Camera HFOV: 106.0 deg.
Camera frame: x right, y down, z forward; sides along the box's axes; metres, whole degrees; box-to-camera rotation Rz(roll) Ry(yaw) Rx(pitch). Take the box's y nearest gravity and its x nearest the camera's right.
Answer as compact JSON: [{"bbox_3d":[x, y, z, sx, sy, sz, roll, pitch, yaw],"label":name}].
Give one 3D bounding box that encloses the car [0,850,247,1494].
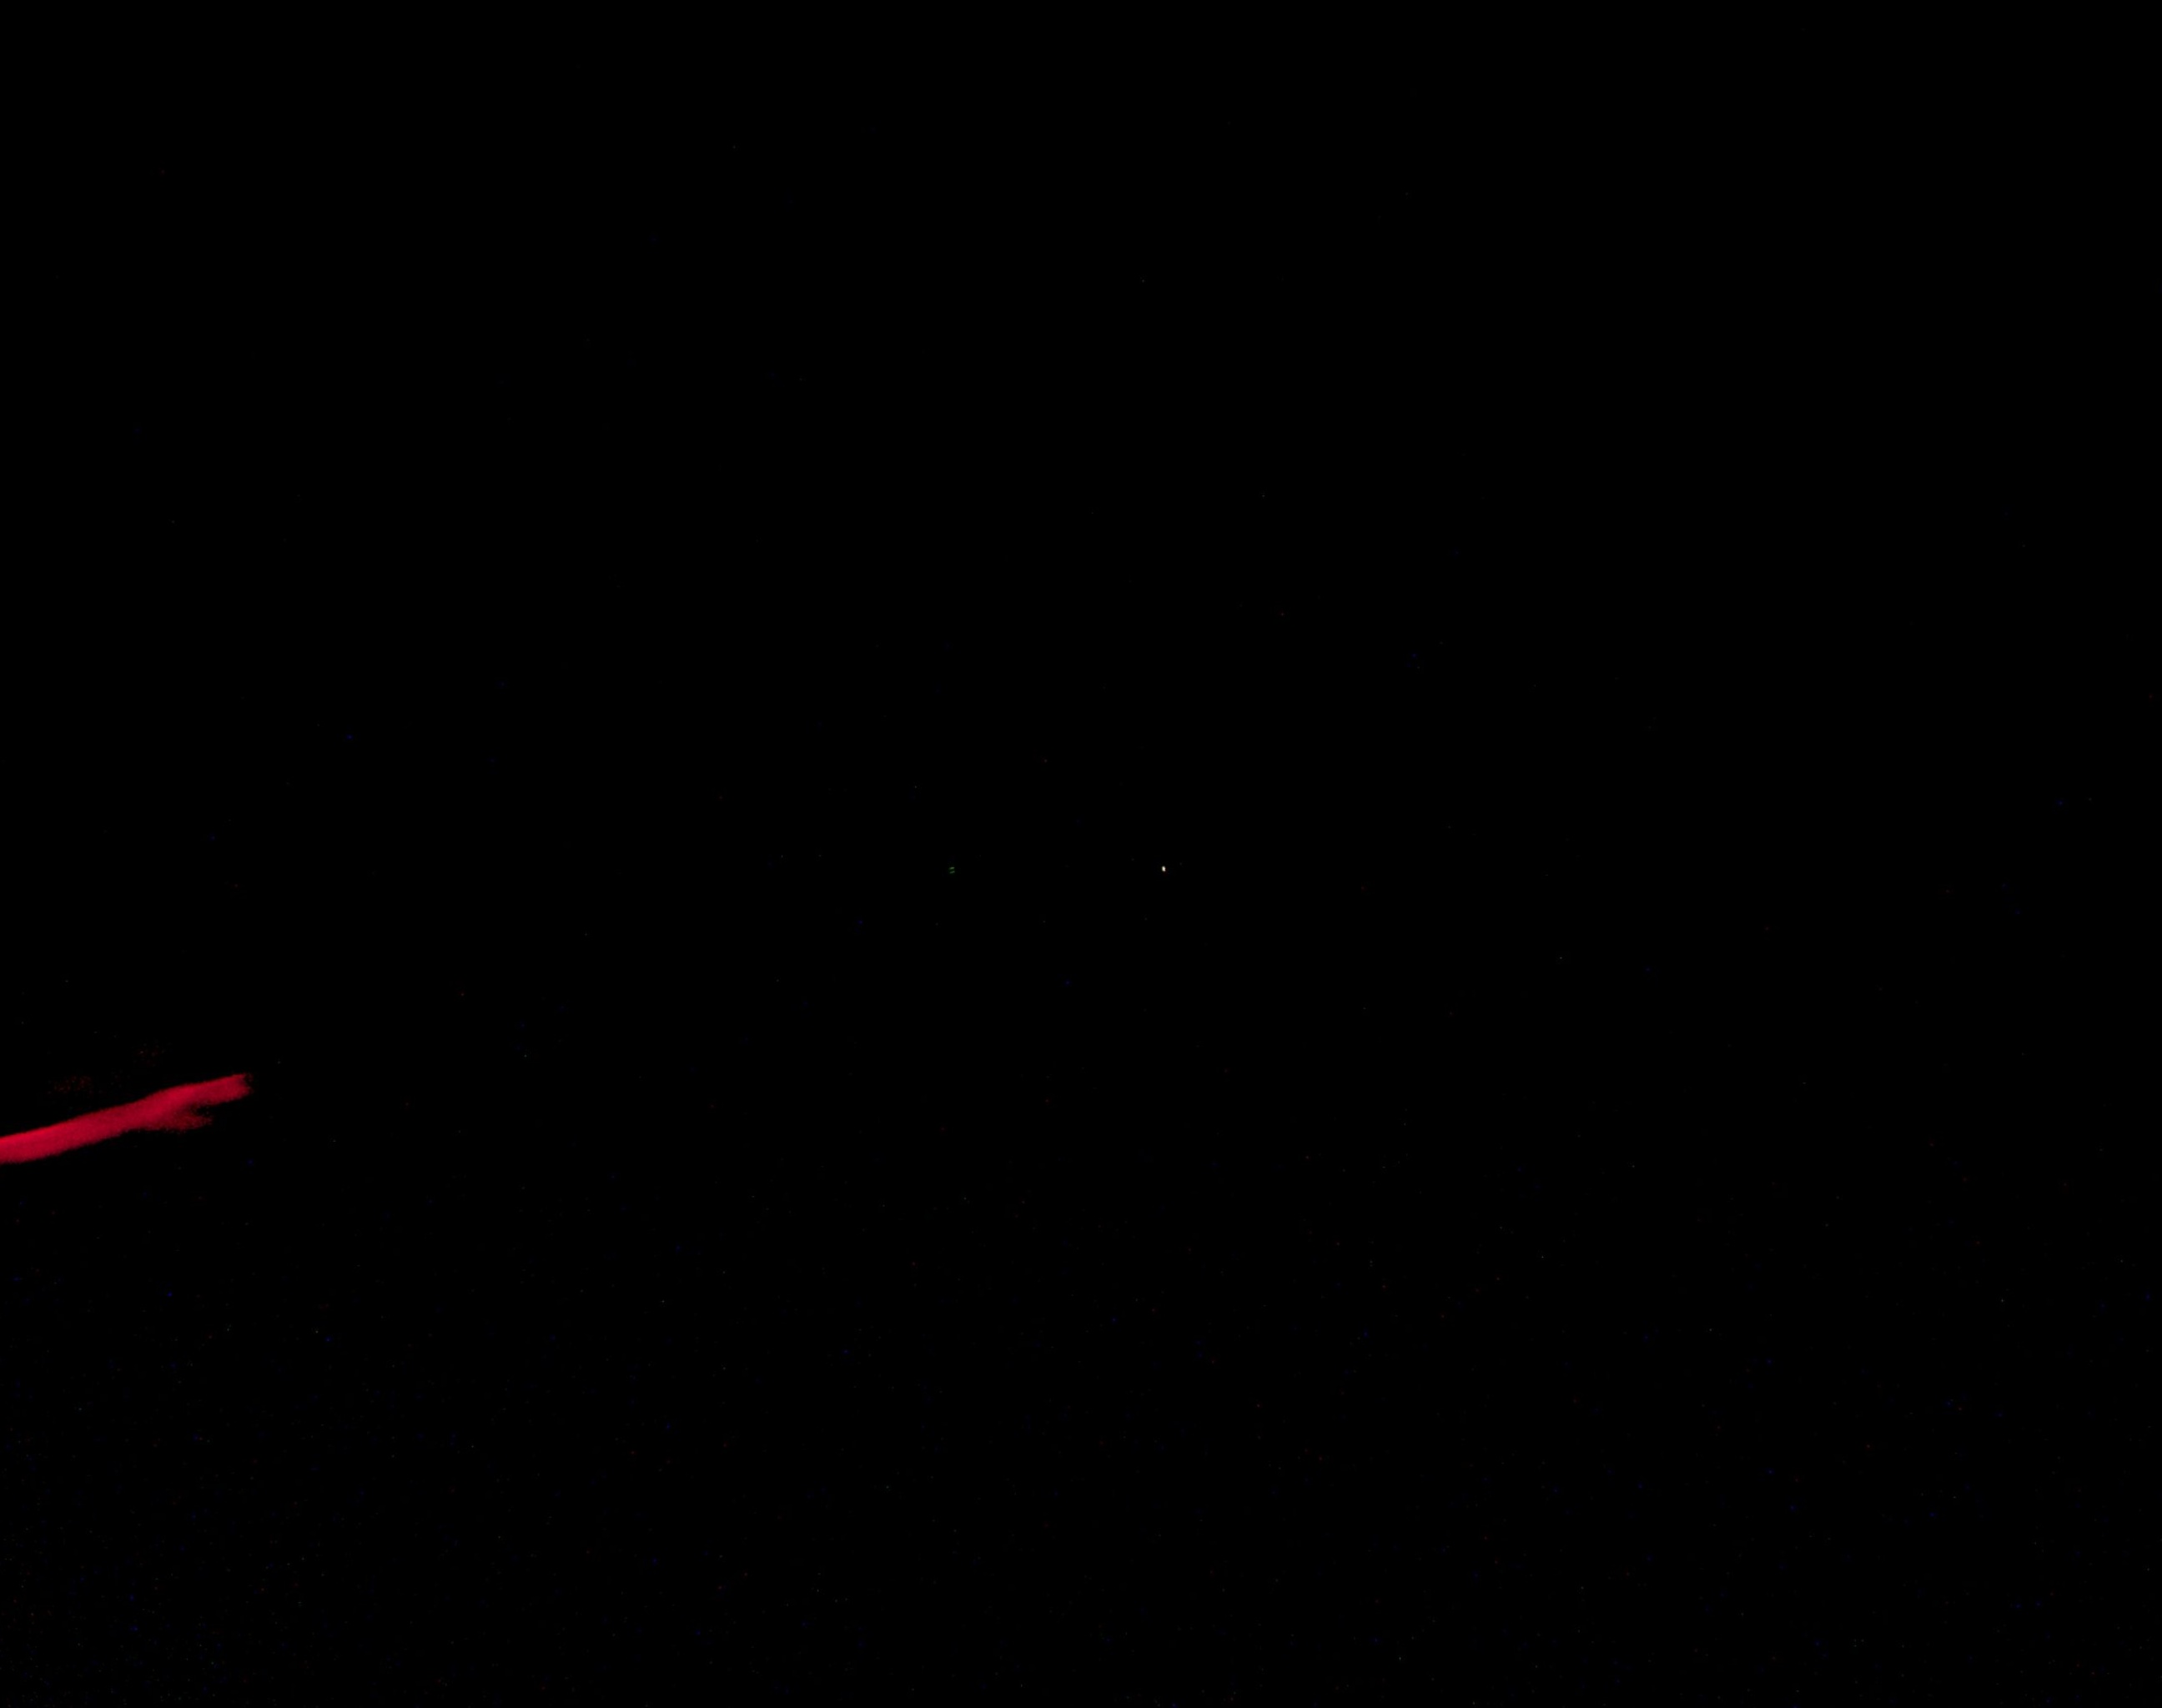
[{"bbox_3d":[-3.413,0.739,0.208,1.830,1.471,4.392,-1,0,0],"label":"car"}]
